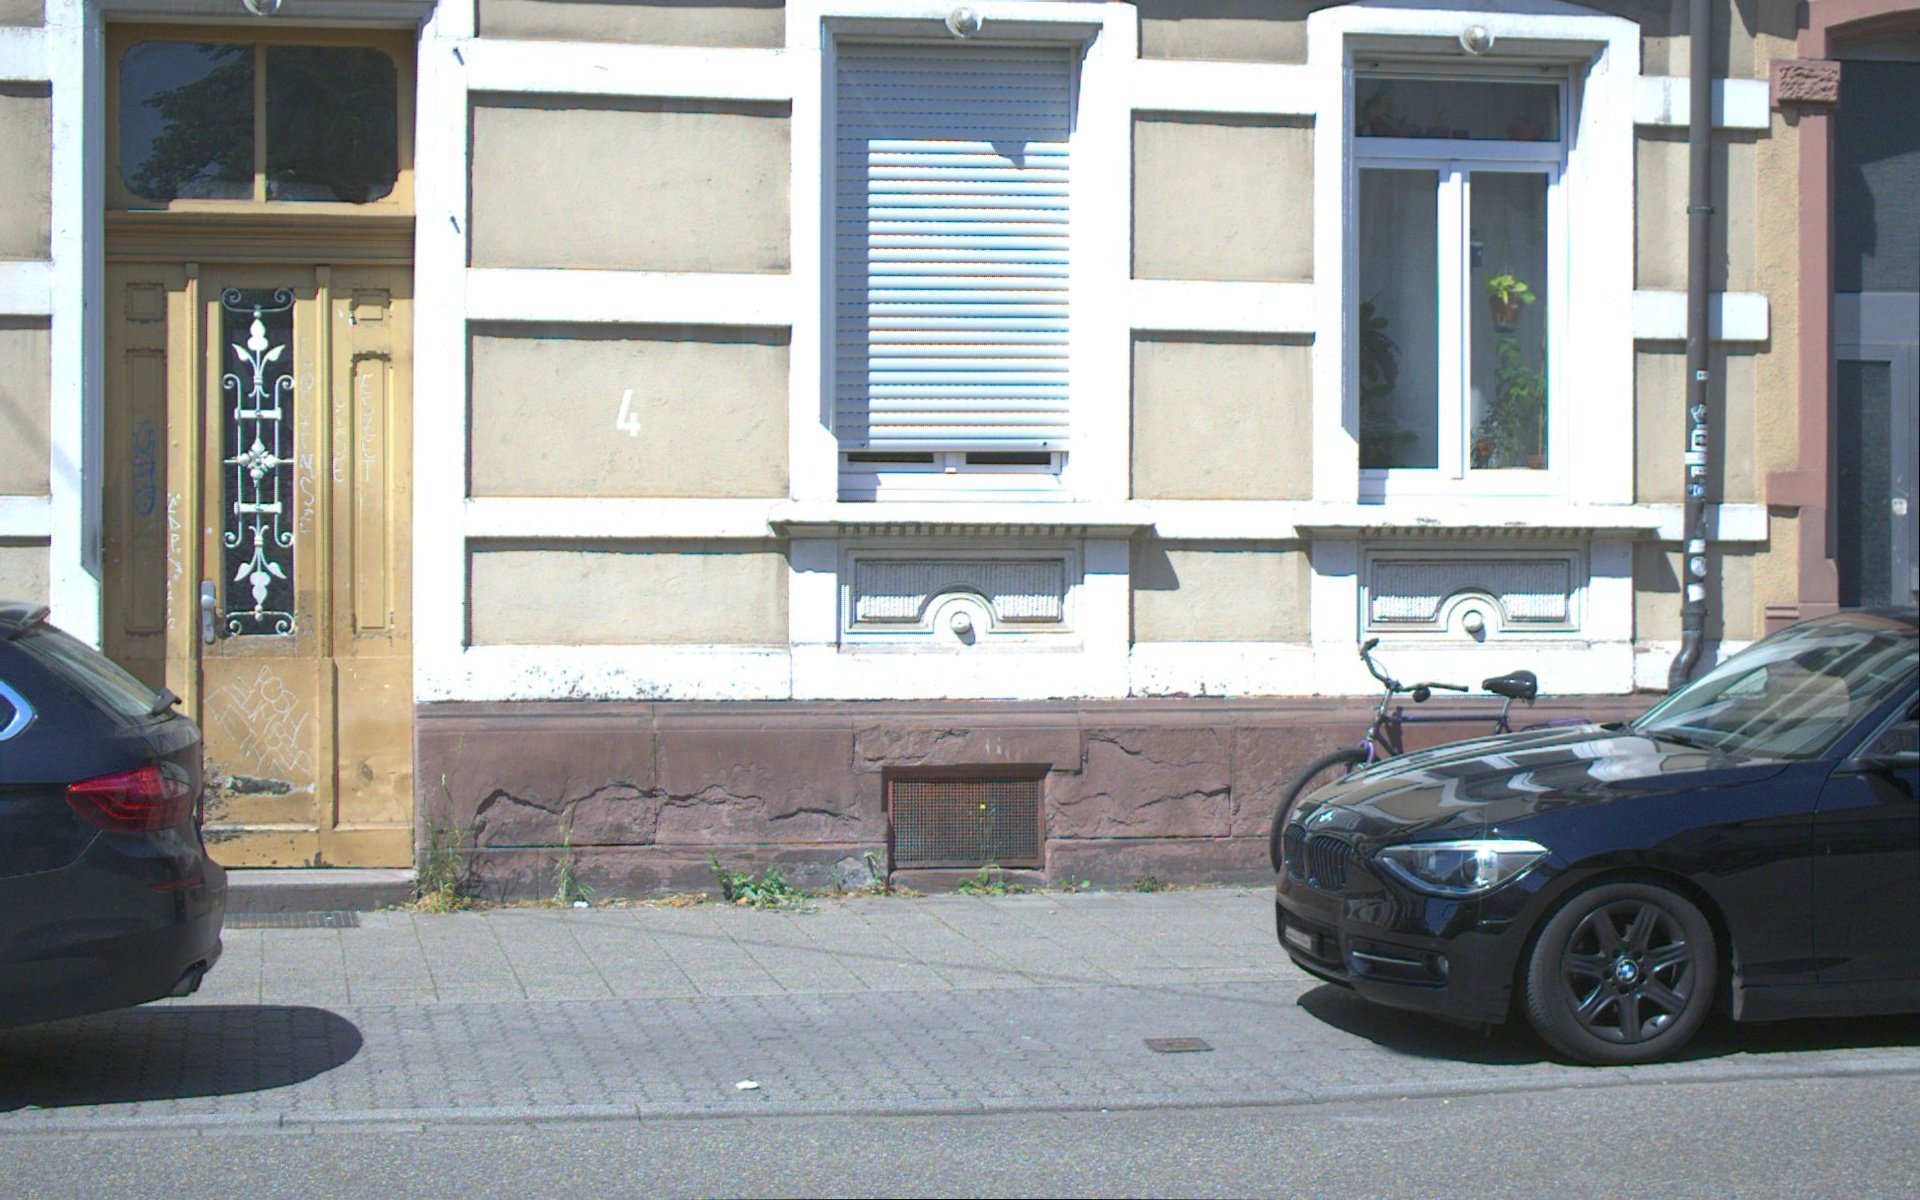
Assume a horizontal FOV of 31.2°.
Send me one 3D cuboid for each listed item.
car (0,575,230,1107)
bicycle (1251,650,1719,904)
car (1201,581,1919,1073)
[{"bbox_3d":[-4.608,0.674,9.913,4.858,1.432,2.001,-1,0,-11],"label":"car"},{"bbox_3d":[2.299,0.761,15.053,2.004,1.018,0.424,-1,3,-14],"label":"bicycle"},{"bbox_3d":[3.127,0.664,11.582,4.293,1.365,1.808,-1,3,-11],"label":"car"}]
